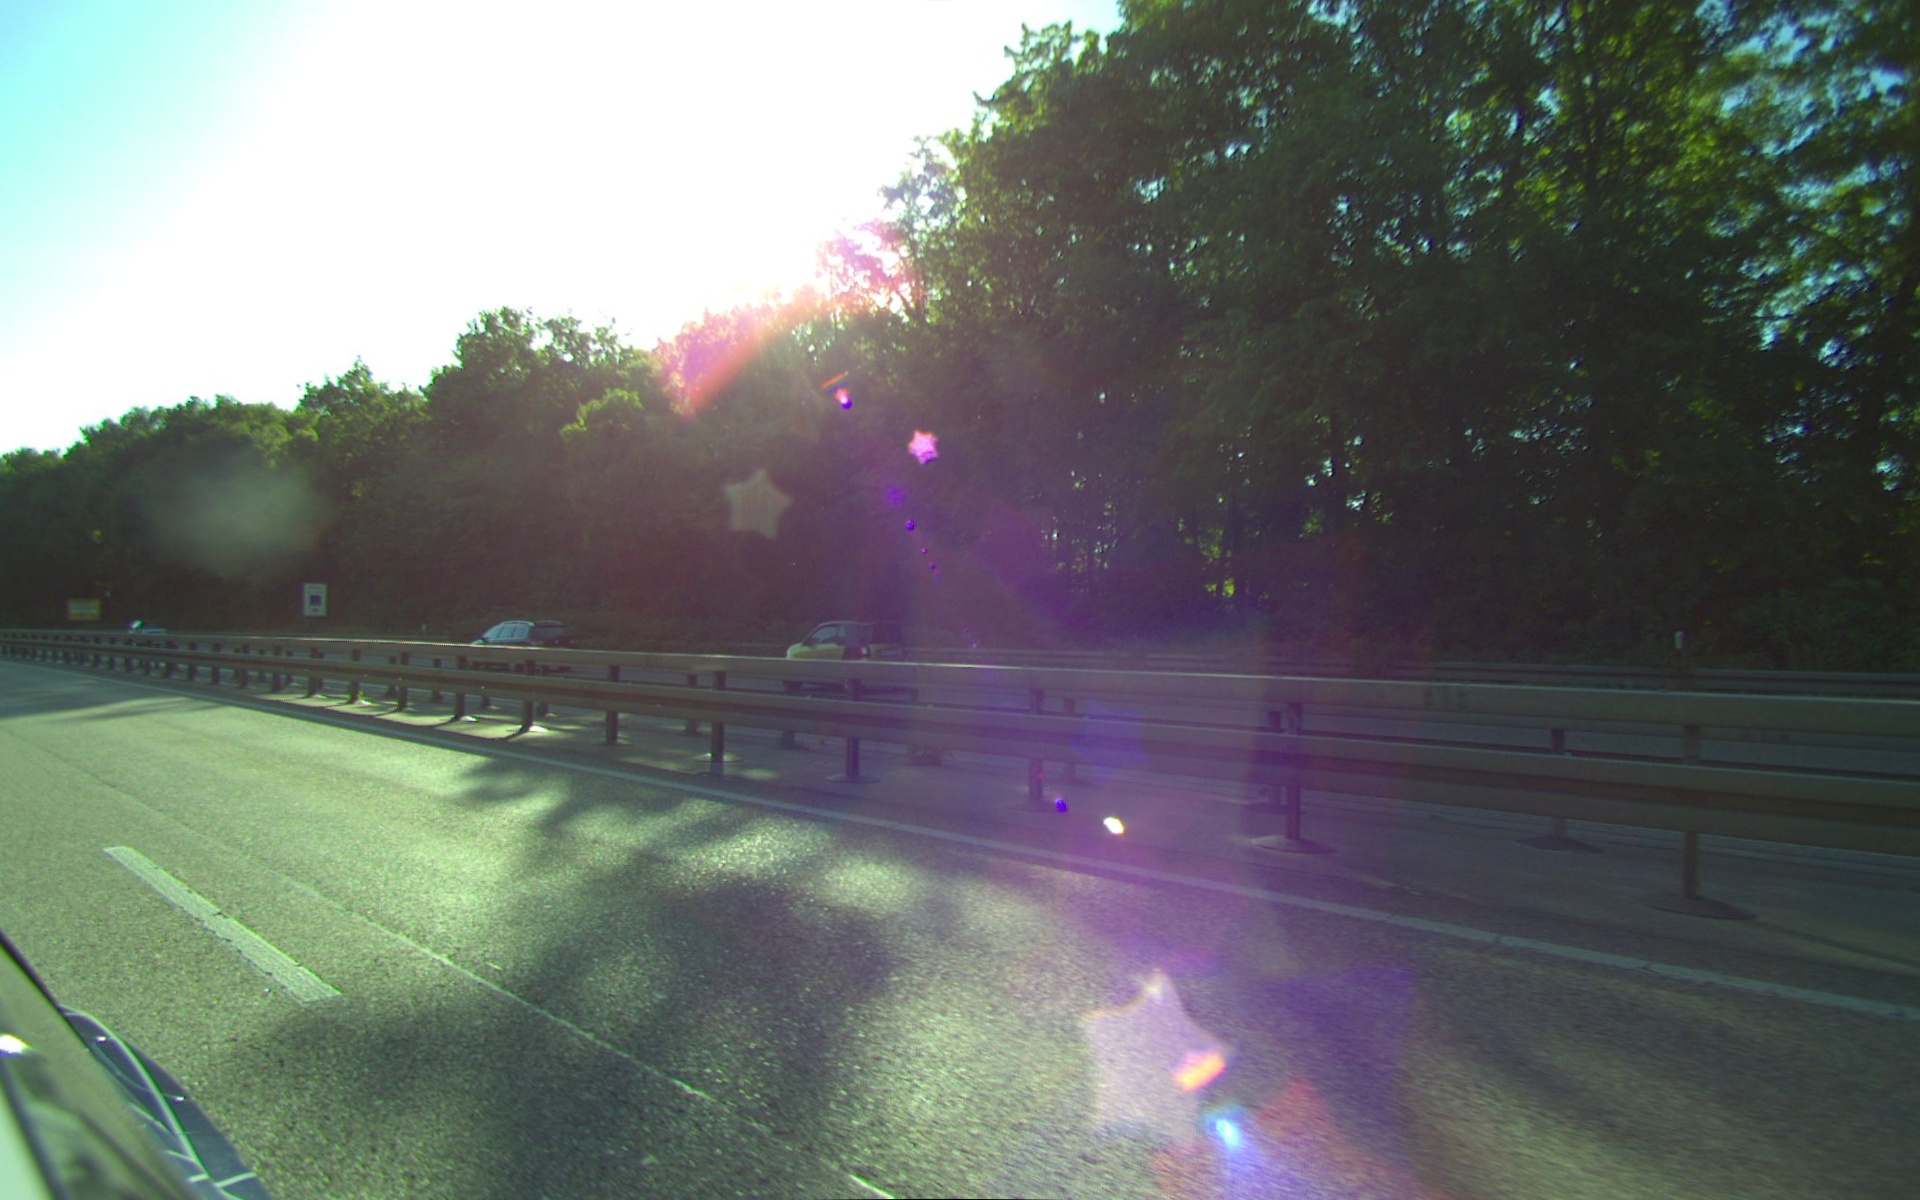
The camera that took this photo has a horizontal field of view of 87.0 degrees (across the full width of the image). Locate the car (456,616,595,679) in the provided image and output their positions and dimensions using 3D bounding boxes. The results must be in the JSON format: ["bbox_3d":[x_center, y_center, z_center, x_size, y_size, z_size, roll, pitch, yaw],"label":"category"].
[{"bbox_3d":[-13.177,1.414,30.606,4.546,1.763,1.973,-1,-4,40],"label":"car"}]

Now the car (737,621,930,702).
[{"bbox_3d":[-2.802,1.310,22.118,3.996,1.597,1.973,-1,-4,40],"label":"car"}]

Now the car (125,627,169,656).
[{"bbox_3d":[-46.527,2.342,57.933,2.872,1.632,1.399,-1,-2,40],"label":"car"}]
